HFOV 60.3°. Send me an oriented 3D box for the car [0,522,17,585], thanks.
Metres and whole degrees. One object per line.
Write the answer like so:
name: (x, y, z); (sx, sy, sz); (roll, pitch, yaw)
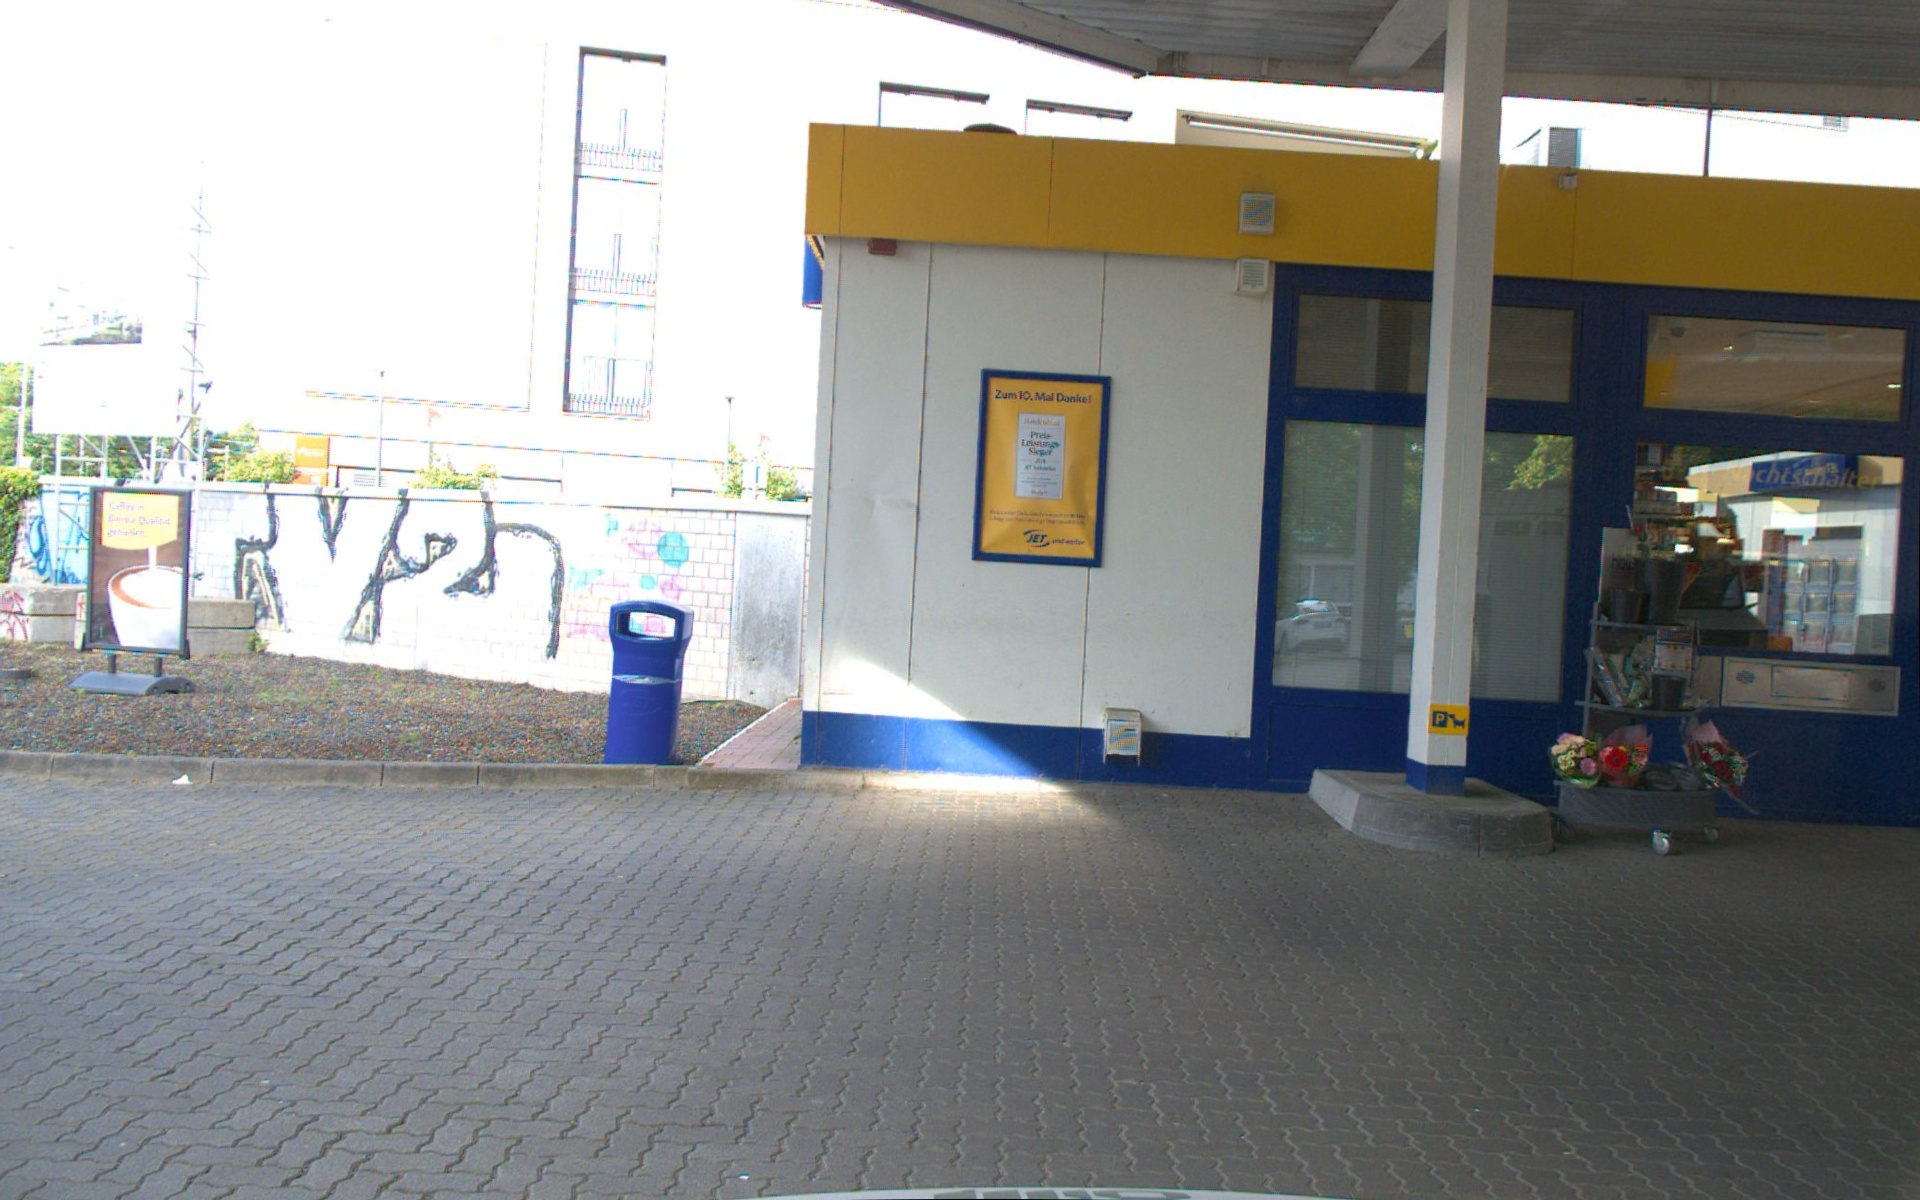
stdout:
car: (-23.622, -1.132, 38.697); (1.726, 1.502, 3.983); (4, 1, -17)
